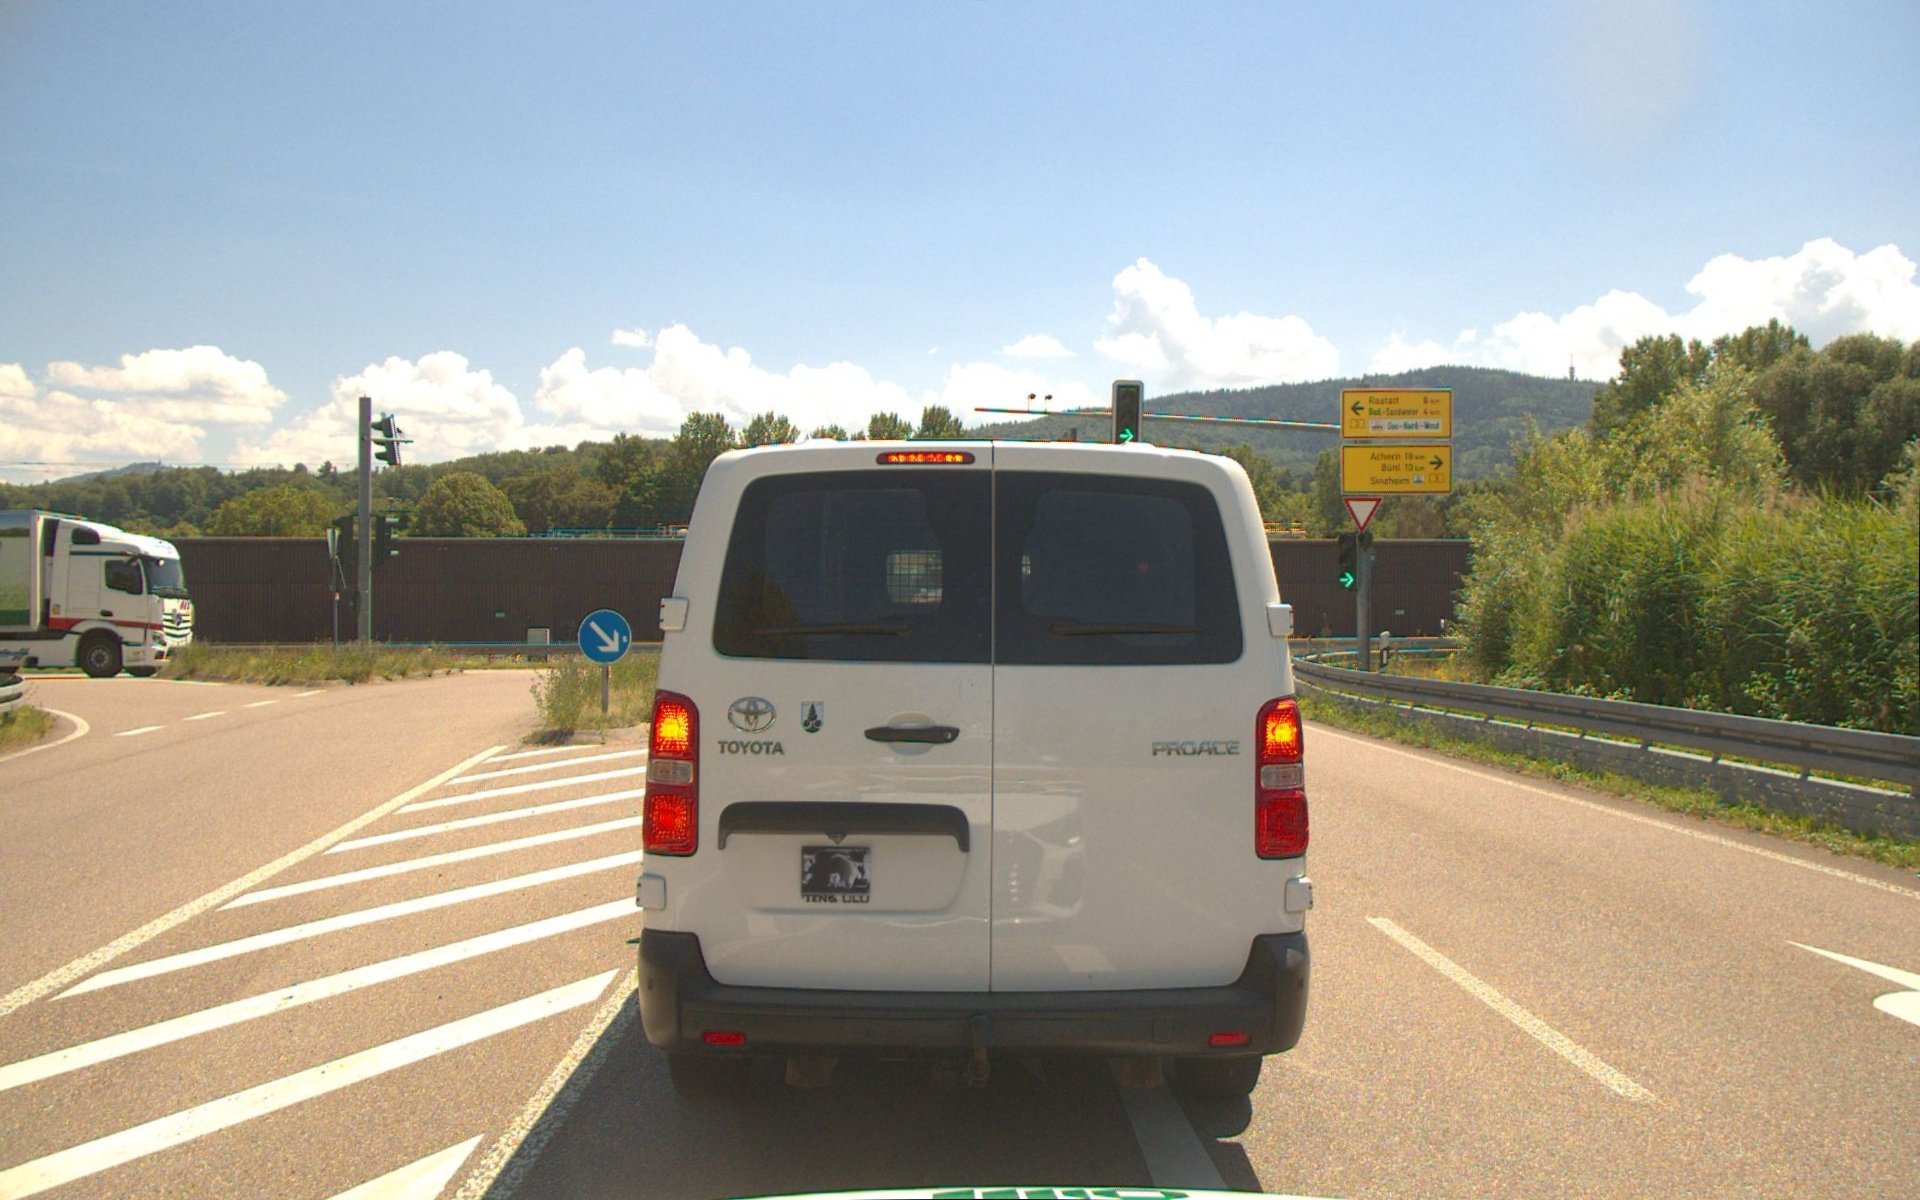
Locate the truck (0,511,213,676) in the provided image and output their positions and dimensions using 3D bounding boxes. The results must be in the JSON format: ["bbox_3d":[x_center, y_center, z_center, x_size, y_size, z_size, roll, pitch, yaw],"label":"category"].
[{"bbox_3d":[-22.404,-0.146,41.789,5.649,4.024,3.061,0,-1,-3],"label":"truck"}]

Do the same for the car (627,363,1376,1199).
[{"bbox_3d":[0.073,0.477,5.936,1.778,2.053,3.999,0,0,-1],"label":"car"}]

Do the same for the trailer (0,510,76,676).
[{"bbox_3d":[-29.533,-0.185,41.449,12.877,4.024,3.060,0,-1,-3],"label":"trailer"}]
